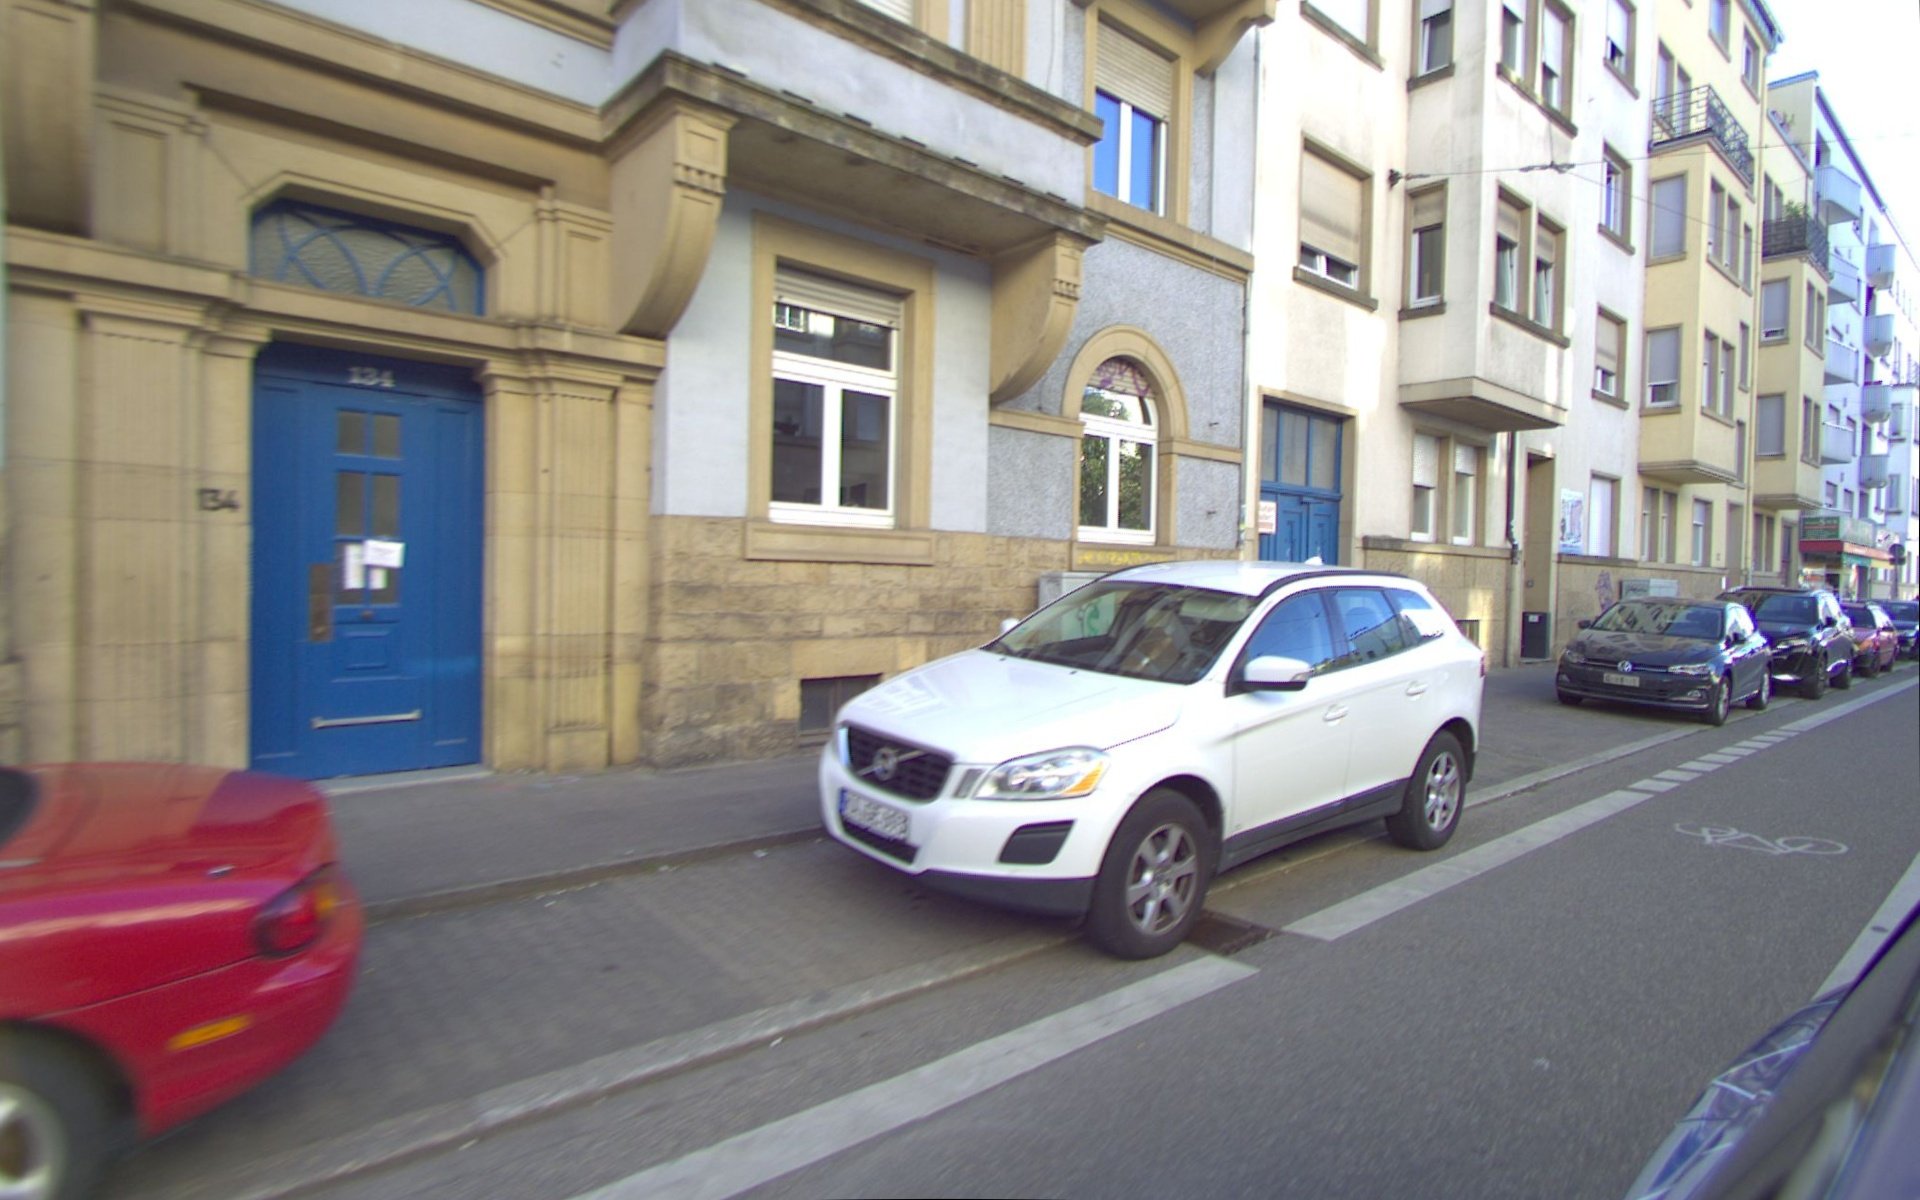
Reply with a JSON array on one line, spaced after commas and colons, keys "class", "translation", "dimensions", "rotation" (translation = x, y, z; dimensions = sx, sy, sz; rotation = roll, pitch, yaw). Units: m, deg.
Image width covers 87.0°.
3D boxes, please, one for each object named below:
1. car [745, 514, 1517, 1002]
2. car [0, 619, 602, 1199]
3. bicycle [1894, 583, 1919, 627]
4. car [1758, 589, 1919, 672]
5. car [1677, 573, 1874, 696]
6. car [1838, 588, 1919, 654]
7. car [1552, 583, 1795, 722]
[{"class": "car", "translation": [1.235, 0.512, 5.691], "dimensions": [4.425, 1.711, 1.847], "rotation": [0, 2, -40]}, {"class": "car", "translation": [-3.237, 0.746, 2.079], "dimensions": [4.422, 1.264, 1.659], "rotation": [0, 2, -38]}, {"class": "bicycle", "translation": [38.391, 0.223, 40.078], "dimensions": [0.761, 1.732, 1.935], "rotation": [1, 2, -40]}, {"class": "car", "translation": [18.310, 0.556, 20.935], "dimensions": [4.625, 1.473, 1.864], "rotation": [0, 2, -39]}, {"class": "car", "translation": [13.415, 0.461, 16.548], "dimensions": [4.484, 1.686, 1.862], "rotation": [0, 2, -43]}, {"class": "car", "translation": [24.370, 0.503, 26.286], "dimensions": [3.931, 1.509, 1.722], "rotation": [0, 4, -40]}, {"class": "car", "translation": [9.238, 0.554, 12.991], "dimensions": [3.965, 1.459, 1.739], "rotation": [0, 3, -43]}]
